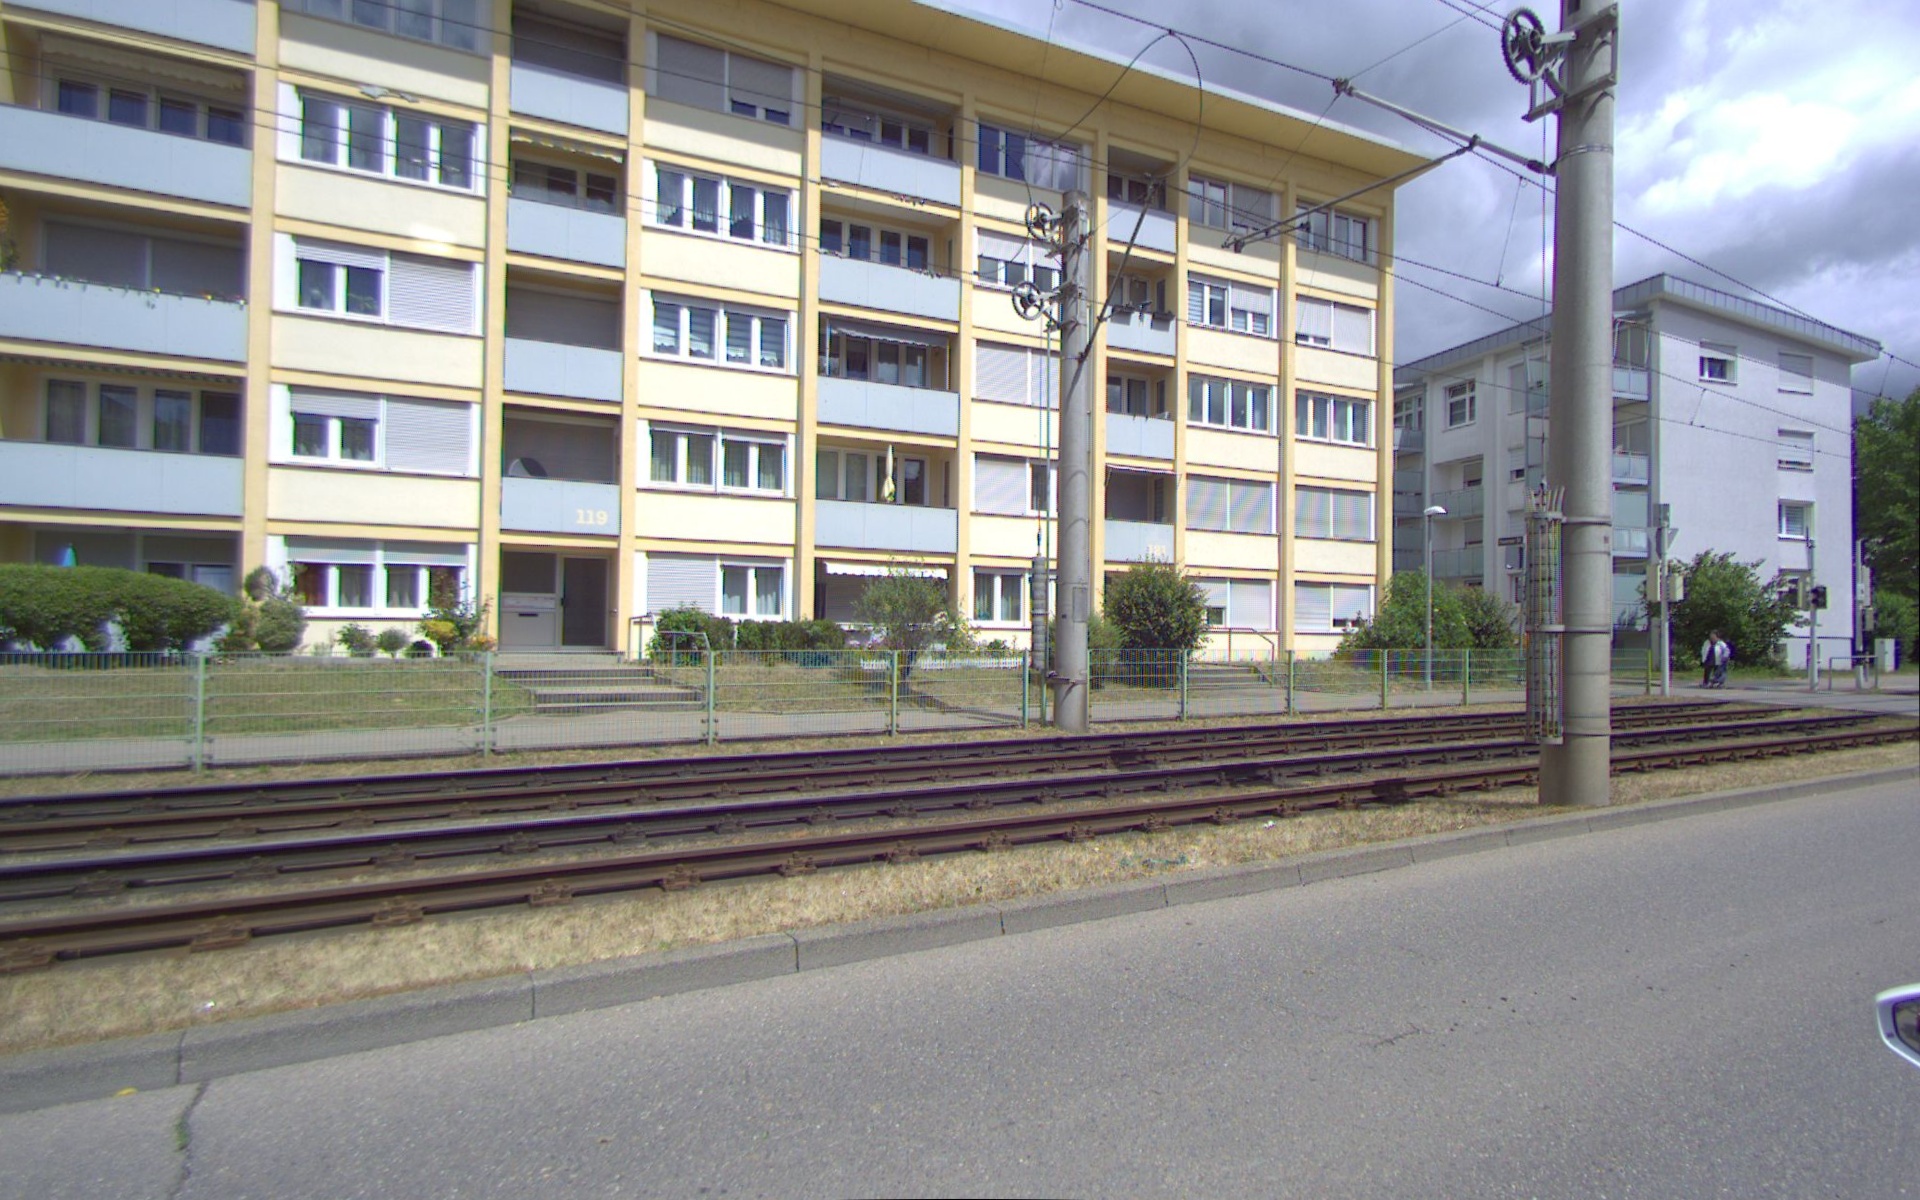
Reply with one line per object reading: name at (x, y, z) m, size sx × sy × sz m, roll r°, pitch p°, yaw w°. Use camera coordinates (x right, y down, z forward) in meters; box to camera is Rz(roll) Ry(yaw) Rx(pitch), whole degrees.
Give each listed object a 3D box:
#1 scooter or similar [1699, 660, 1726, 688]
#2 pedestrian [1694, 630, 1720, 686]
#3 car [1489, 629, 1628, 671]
scooter or similar at (21.168, 2.081, 28.265) m, size 0.468 × 0.757 × 0.436 m, roll 1°, pitch -1°, yaw -25°
pedestrian at (21.394, 1.657, 28.763) m, size 0.468 × 1.601 × 0.436 m, roll 1°, pitch -1°, yaw -25°
car at (21.280, 1.769, 35.907) m, size 1.873 × 1.363 × 3.980 m, roll 1°, pitch -1°, yaw -21°
